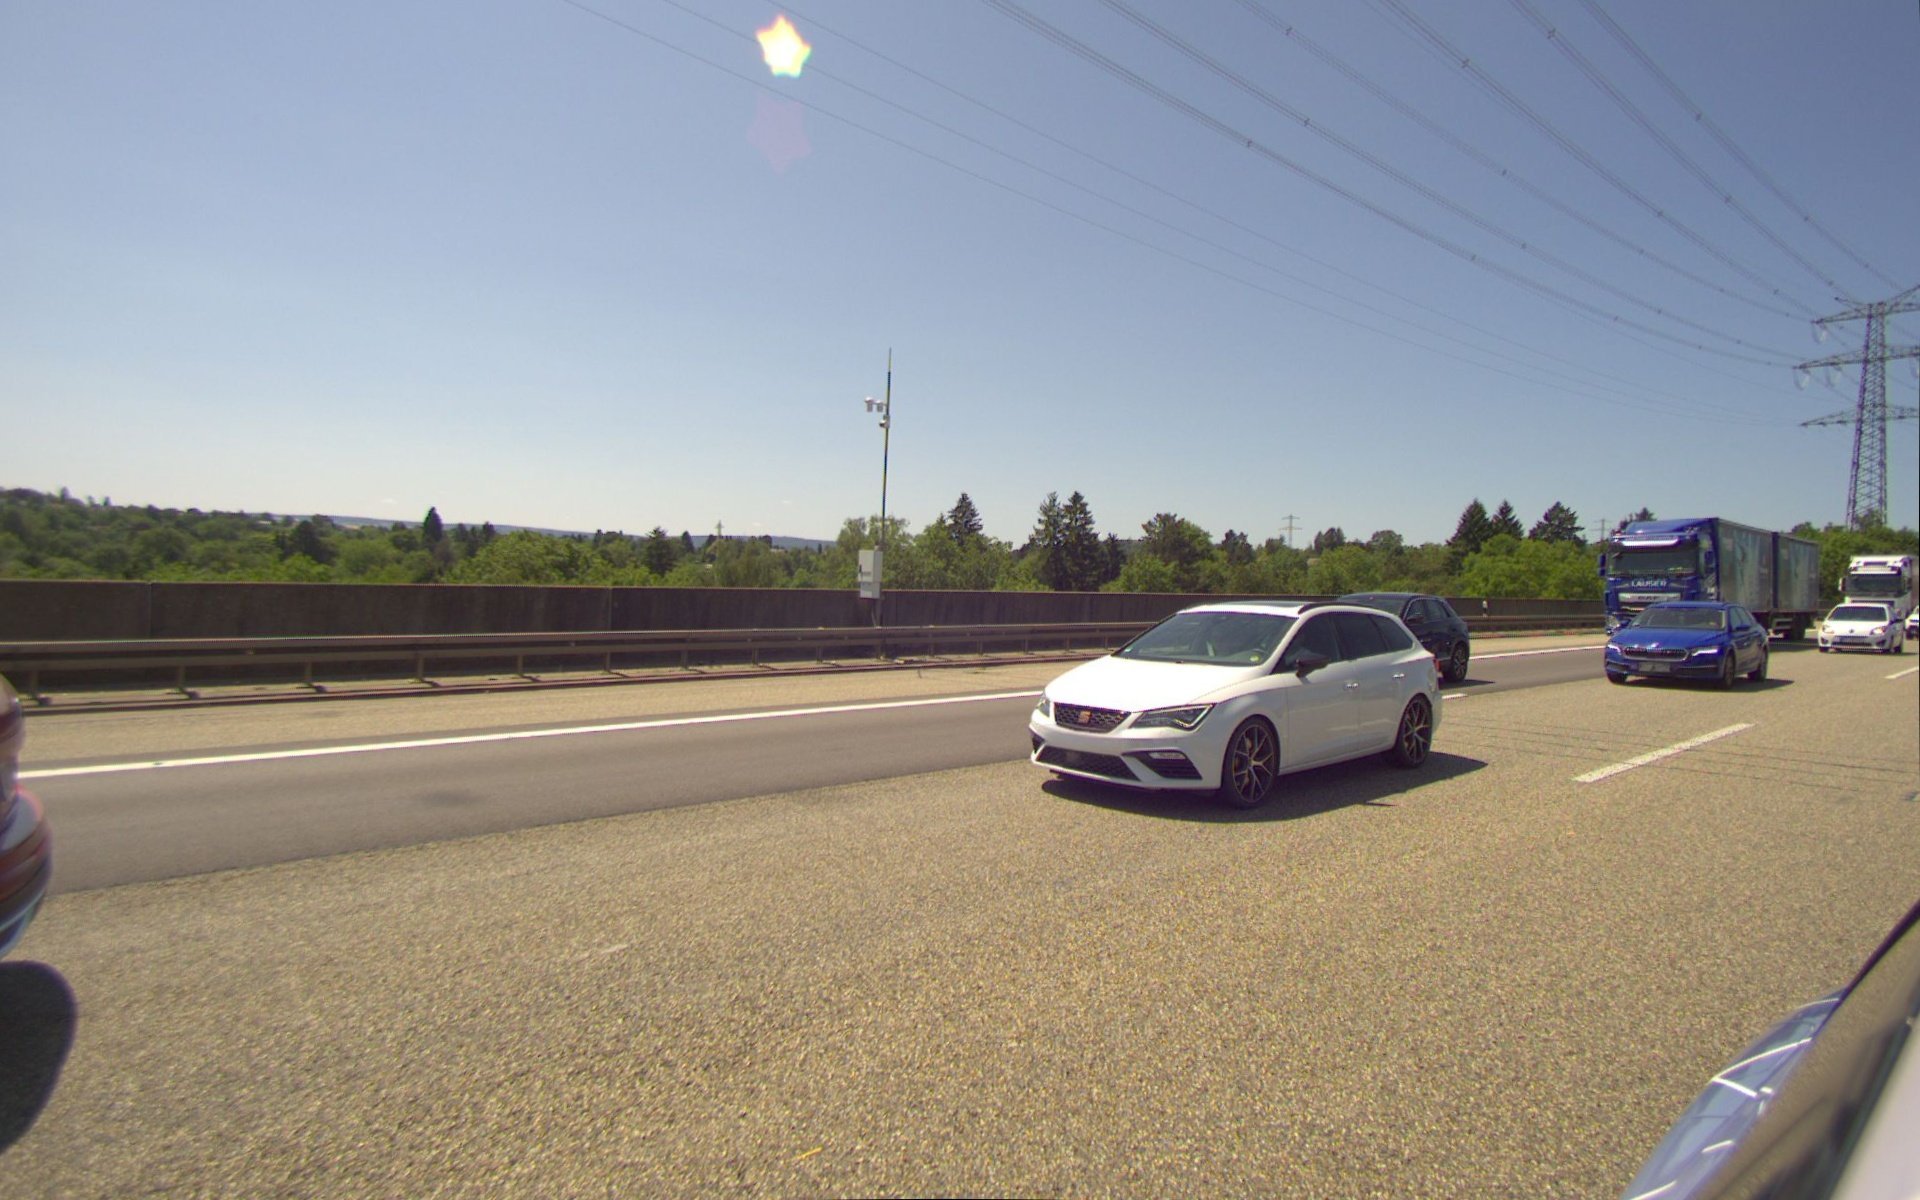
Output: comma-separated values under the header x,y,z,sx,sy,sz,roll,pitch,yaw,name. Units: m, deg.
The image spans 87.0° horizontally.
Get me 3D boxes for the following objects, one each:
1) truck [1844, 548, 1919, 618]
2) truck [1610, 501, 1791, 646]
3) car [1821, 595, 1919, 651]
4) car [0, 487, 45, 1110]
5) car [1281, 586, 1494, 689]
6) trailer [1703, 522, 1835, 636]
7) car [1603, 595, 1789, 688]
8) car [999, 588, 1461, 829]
x,y,z,sx,sy,sz,roll,pitch,yaw,name
52.680,-0.919,56.922,10.776,3.604,2.982,0,0,-41,truck
24.461,-0.787,33.148,10.264,4.118,2.527,0,0,-41,truck
27.049,0.624,29.987,4.023,1.522,1.761,0,1,-41,car
-4.695,0.525,2.056,4.151,1.683,1.778,0,1,-41,car
7.309,0.547,17.138,4.034,1.546,1.739,0,0,-41,car
31.498,-0.769,39.265,8.331,3.994,2.570,0,0,-41,trailer
13.243,0.659,18.127,4.135,1.463,1.739,0,1,-40,car
2.384,0.664,8.367,4.003,1.508,1.841,0,0,-42,car
